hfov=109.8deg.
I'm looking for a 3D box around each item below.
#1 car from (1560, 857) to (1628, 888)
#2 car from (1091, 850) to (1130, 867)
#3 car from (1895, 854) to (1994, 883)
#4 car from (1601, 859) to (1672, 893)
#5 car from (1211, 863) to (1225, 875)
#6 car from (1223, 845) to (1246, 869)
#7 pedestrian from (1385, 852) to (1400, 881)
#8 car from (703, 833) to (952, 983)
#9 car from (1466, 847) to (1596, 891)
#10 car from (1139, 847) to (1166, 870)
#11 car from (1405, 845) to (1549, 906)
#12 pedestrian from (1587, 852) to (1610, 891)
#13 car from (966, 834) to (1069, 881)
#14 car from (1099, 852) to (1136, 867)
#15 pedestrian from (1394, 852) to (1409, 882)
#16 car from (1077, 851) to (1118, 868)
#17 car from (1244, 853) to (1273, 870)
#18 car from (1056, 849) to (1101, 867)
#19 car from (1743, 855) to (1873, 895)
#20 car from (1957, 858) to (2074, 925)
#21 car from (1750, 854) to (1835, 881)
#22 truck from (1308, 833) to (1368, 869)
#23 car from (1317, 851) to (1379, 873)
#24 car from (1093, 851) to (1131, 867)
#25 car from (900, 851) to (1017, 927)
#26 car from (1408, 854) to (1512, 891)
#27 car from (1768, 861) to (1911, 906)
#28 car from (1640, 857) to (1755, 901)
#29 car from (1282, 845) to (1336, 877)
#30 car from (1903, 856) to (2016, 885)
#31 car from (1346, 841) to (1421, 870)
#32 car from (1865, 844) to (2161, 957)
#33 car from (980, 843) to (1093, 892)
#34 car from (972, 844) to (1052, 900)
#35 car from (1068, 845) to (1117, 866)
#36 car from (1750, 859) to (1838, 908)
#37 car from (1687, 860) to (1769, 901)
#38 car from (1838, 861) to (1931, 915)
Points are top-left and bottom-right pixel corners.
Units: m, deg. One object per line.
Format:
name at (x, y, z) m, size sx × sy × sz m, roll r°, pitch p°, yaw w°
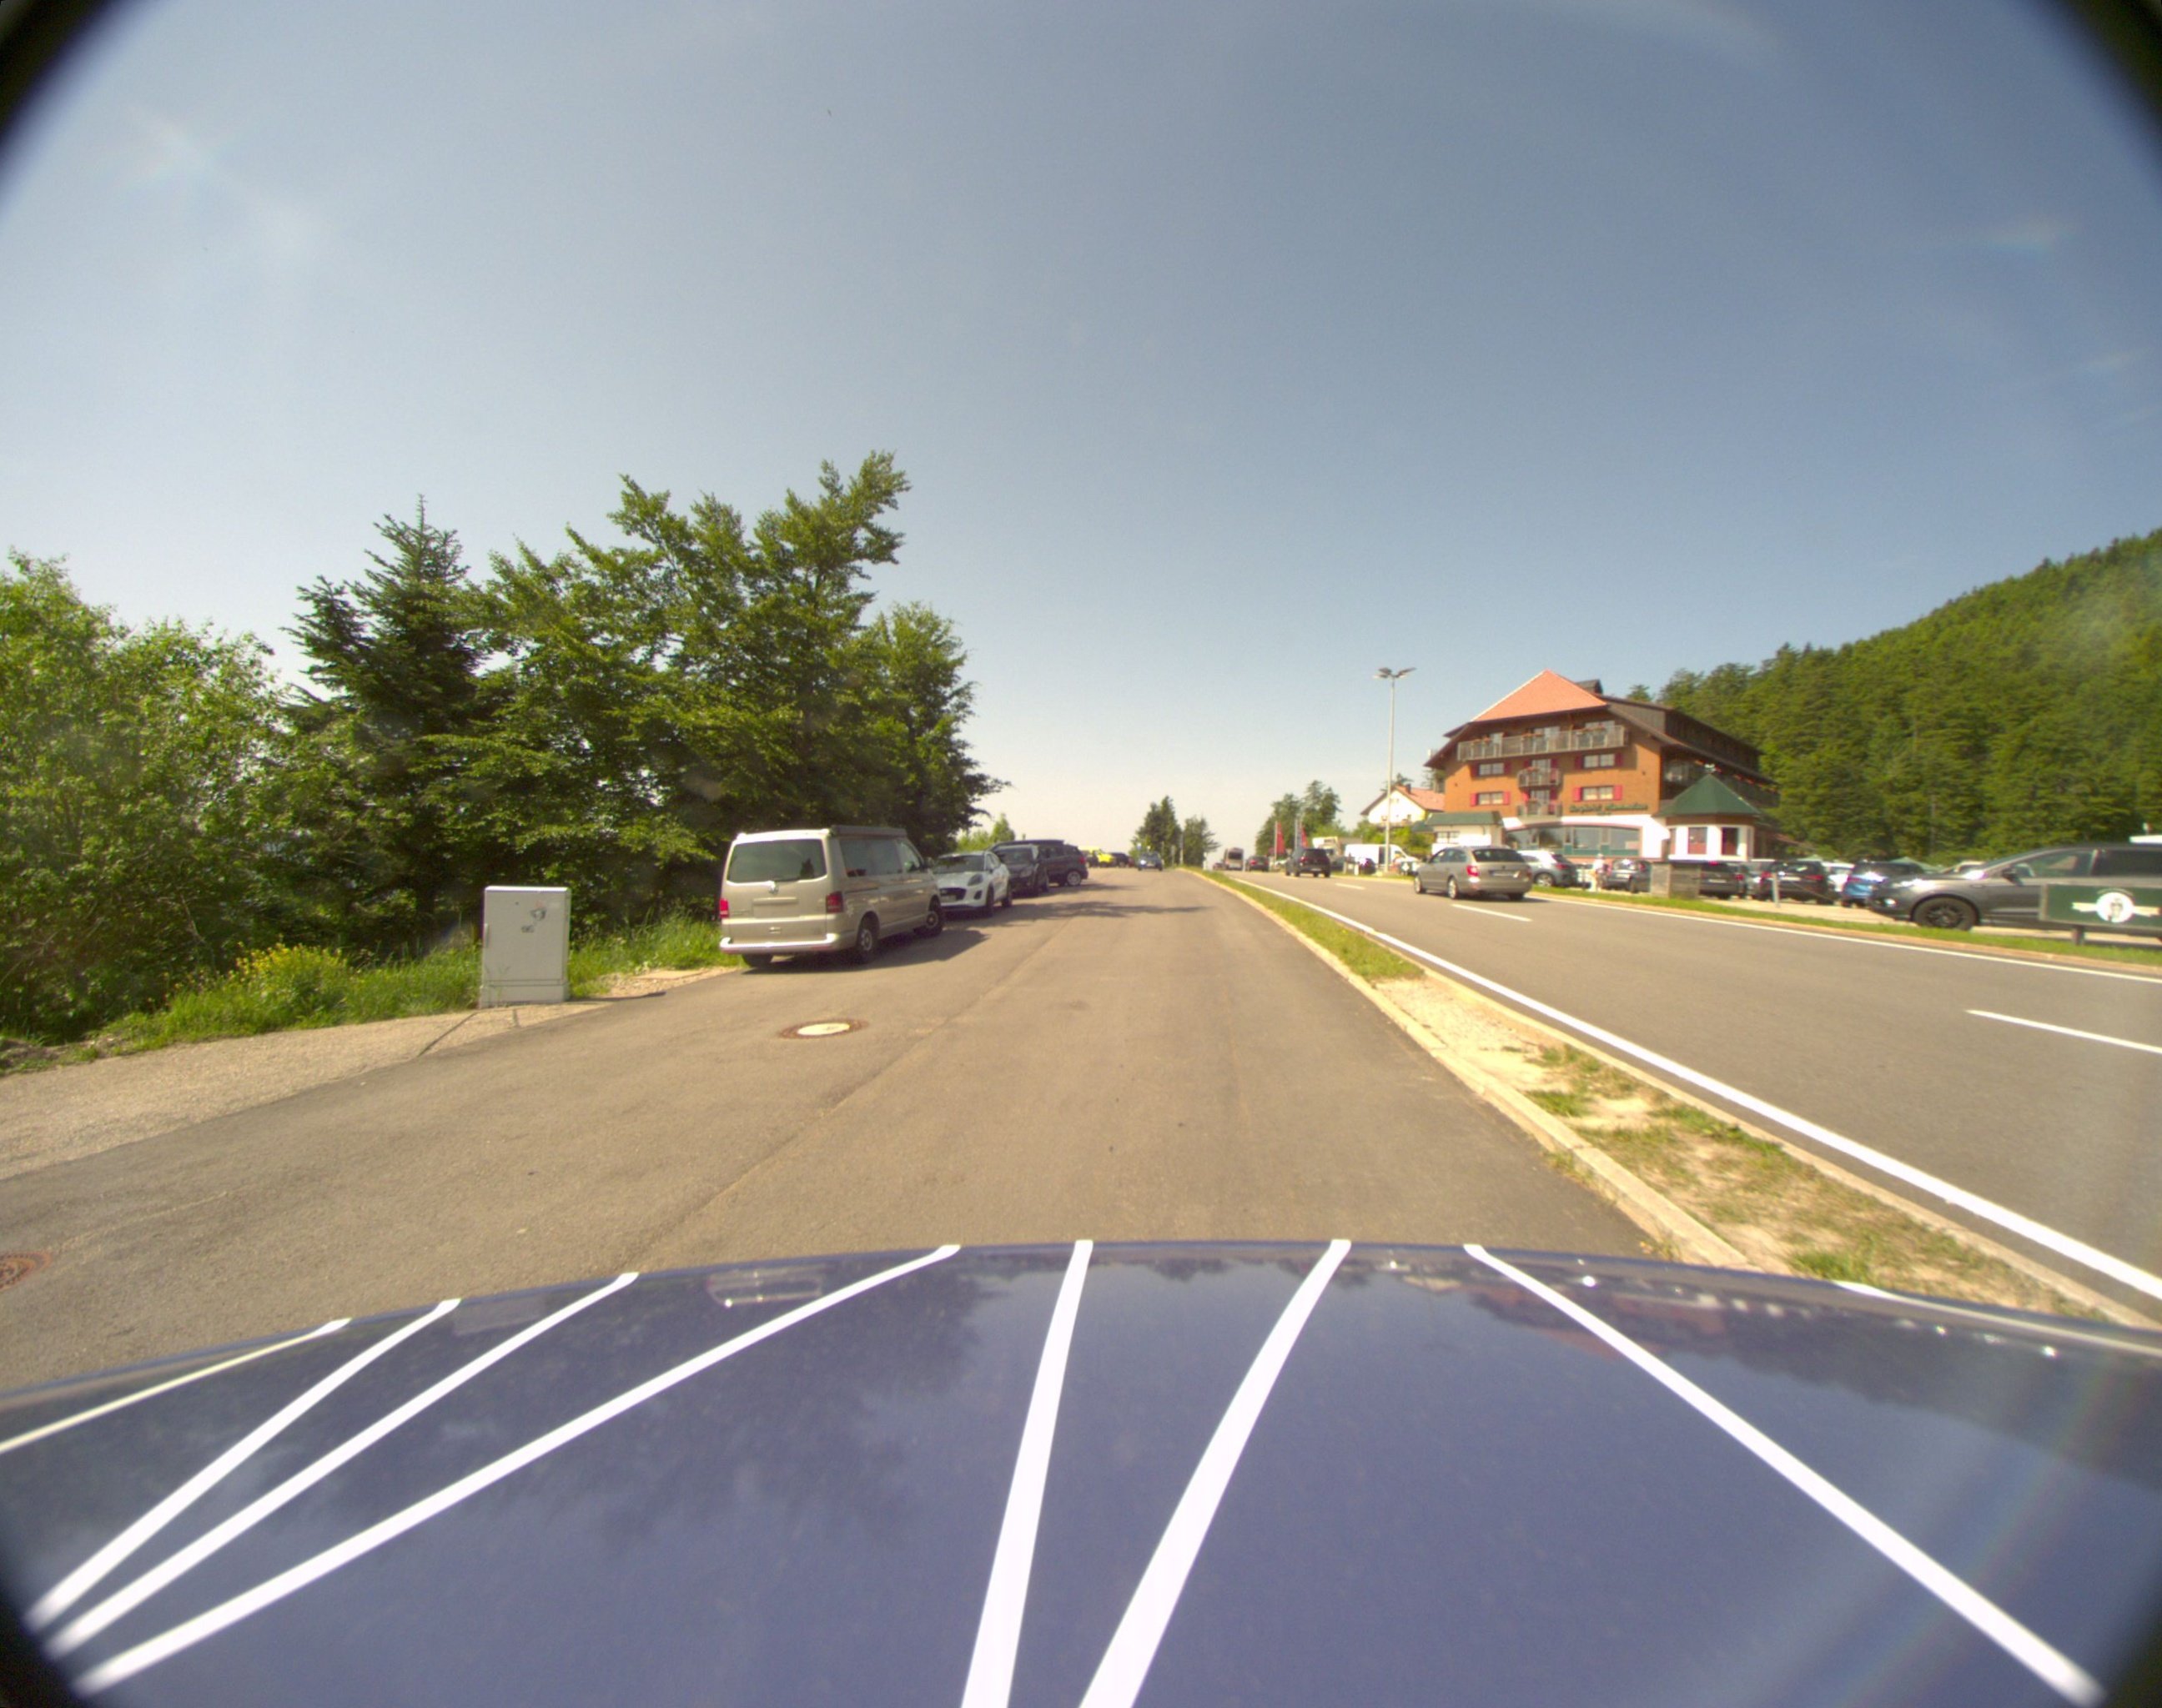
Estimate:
car at (27.006, 0.950, 39.991) m, size 4.103 × 1.504 × 1.818 m, roll 0°, pitch 1°, yaw -39°
car at (3.080, 0.434, 78.743) m, size 3.907 × 1.605 × 1.877 m, roll 1°, pitch 1°, yaw 7°
car at (55.061, 0.895, 48.539) m, size 1.924 × 1.706 × 4.082 m, roll 0°, pitch 1°, yaw -41°
car at (27.345, 1.057, 37.384) m, size 4.103 × 1.504 × 1.818 m, roll 0°, pitch 1°, yaw -39°
car at (21.406, 2.374, 118.711) m, size 1.720 × 1.672 × 4.131 m, roll 1°, pitch 1°, yaw 5°
car at (17.722, 0.293, 87.986) m, size 2.015 × 2.735 × 5.919 m, roll 1°, pitch 1°, yaw 5°
pedestrian at (21.900, 0.866, 53.435) m, size 0.717 × 2.002 × 0.803 m, roll 0°, pitch 1°, yaw 4°
car at (-3.763, 0.706, 12.349) m, size 1.860 × 1.924 × 4.611 m, roll -3°, pitch 0°, yaw 8°
car at (18.670, 0.591, 31.677) m, size 1.828 × 1.619 × 4.258 m, roll 0°, pitch 2°, yaw -42°
car at (5.256, 0.314, 55.721) m, size 1.874 × 1.605 × 3.914 m, roll 1°, pitch 1°, yaw 5°
car at (10.756, 0.507, 21.065) m, size 1.883 × 1.466 × 4.715 m, roll -1°, pitch 1°, yaw 5°
pedestrian at (21.837, 0.709, 32.053) m, size 0.744 × 1.615 × 0.684 m, roll 2°, pitch 2°, yaw 35°
car at (-2.982, 0.130, 35.311) m, size 4.462 × 1.914 × 1.874 m, roll -3°, pitch 1°, yaw -14°
car at (4.127, 0.577, 85.341) m, size 3.907 × 1.605 × 1.877 m, roll 1°, pitch 1°, yaw 7°
pedestrian at (21.459, 0.858, 50.874) m, size 0.717 × 2.002 × 0.803 m, roll 0°, pitch 1°, yaw 4°
car at (1.664, 0.534, 76.028) m, size 3.907 × 1.605 × 1.877 m, roll 1°, pitch 1°, yaw 7°
car at (15.453, 0.627, 66.408) m, size 1.710 × 1.429 × 4.450 m, roll 1°, pitch 1°, yaw 4°
car at (-0.197, 0.338, 70.237) m, size 3.907 × 1.605 × 1.877 m, roll 1°, pitch 1°, yaw 7°
car at (32.947, 0.901, 34.517) m, size 1.828 × 1.619 × 4.082 m, roll 0°, pitch 2°, yaw -42°
car at (26.955, 0.995, 22.047) m, size 4.103 × 1.706 × 1.914 m, roll 0°, pitch 2°, yaw -41°
car at (49.793, 0.936, 53.222) m, size 1.924 × 1.706 × 4.082 m, roll 0°, pitch 1°, yaw -41°
truck at (28.607, -0.321, 84.397) m, size 2.876 × 3.798 × 9.037 m, roll -1°, pitch 0°, yaw 43°
car at (20.585, 0.618, 58.753) m, size 4.082 × 1.518 × 1.828 m, roll 2°, pitch 2°, yaw 44°
car at (3.312, 0.504, 81.346) m, size 3.907 × 1.605 × 1.877 m, roll 1°, pitch 1°, yaw 7°
car at (-2.849, 0.766, 18.643) m, size 1.874 × 1.538 × 4.001 m, roll -3°, pitch 1°, yaw 4°
car at (19.132, 0.896, 38.486) m, size 1.828 × 1.619 × 4.258 m, roll 0°, pitch 2°, yaw -42°
car at (31.620, 1.170, 31.767) m, size 1.828 × 1.619 × 4.082 m, roll 0°, pitch 2°, yaw -42°
car at (22.762, 0.876, 28.257) m, size 1.719 × 1.422 × 4.004 m, roll 2°, pitch 1°, yaw 13°
car at (12.584, 0.344, 42.252) m, size 1.998 × 1.638 × 4.568 m, roll 1°, pitch 1°, yaw 5°
car at (58.542, 1.031, 50.757) m, size 1.924 × 1.706 × 4.831 m, roll 0°, pitch 1°, yaw -41°
car at (30.532, 0.136, 76.730) m, size 6.947 × 2.775 × 2.671 m, roll 1°, pitch 1°, yaw 24°
car at (16.417, 0.715, 12.704) m, size 1.726 × 1.646 × 4.538 m, roll 0°, pitch 2°, yaw -43°
car at (-1.744, 0.477, 29.160) m, size 4.001 × 1.609 × 1.874 m, roll -3°, pitch 1°, yaw -14°
car at (-2.138, 0.515, 24.732) m, size 1.874 × 1.609 × 4.001 m, roll -3°, pitch 1°, yaw 4°
car at (1.123, 0.085, 72.838) m, size 4.454 × 1.914 × 1.877 m, roll 1°, pitch 1°, yaw 7°
car at (26.609, 1.044, 28.310) m, size 4.103 × 1.619 × 1.818 m, roll 0°, pitch 1°, yaw -39°
car at (26.636, 1.036, 31.236) m, size 4.103 × 1.504 × 1.818 m, roll 0°, pitch 1°, yaw -39°
car at (27.175, 1.094, 25.658) m, size 4.103 × 1.619 × 1.818 m, roll 0°, pitch 1°, yaw -39°
